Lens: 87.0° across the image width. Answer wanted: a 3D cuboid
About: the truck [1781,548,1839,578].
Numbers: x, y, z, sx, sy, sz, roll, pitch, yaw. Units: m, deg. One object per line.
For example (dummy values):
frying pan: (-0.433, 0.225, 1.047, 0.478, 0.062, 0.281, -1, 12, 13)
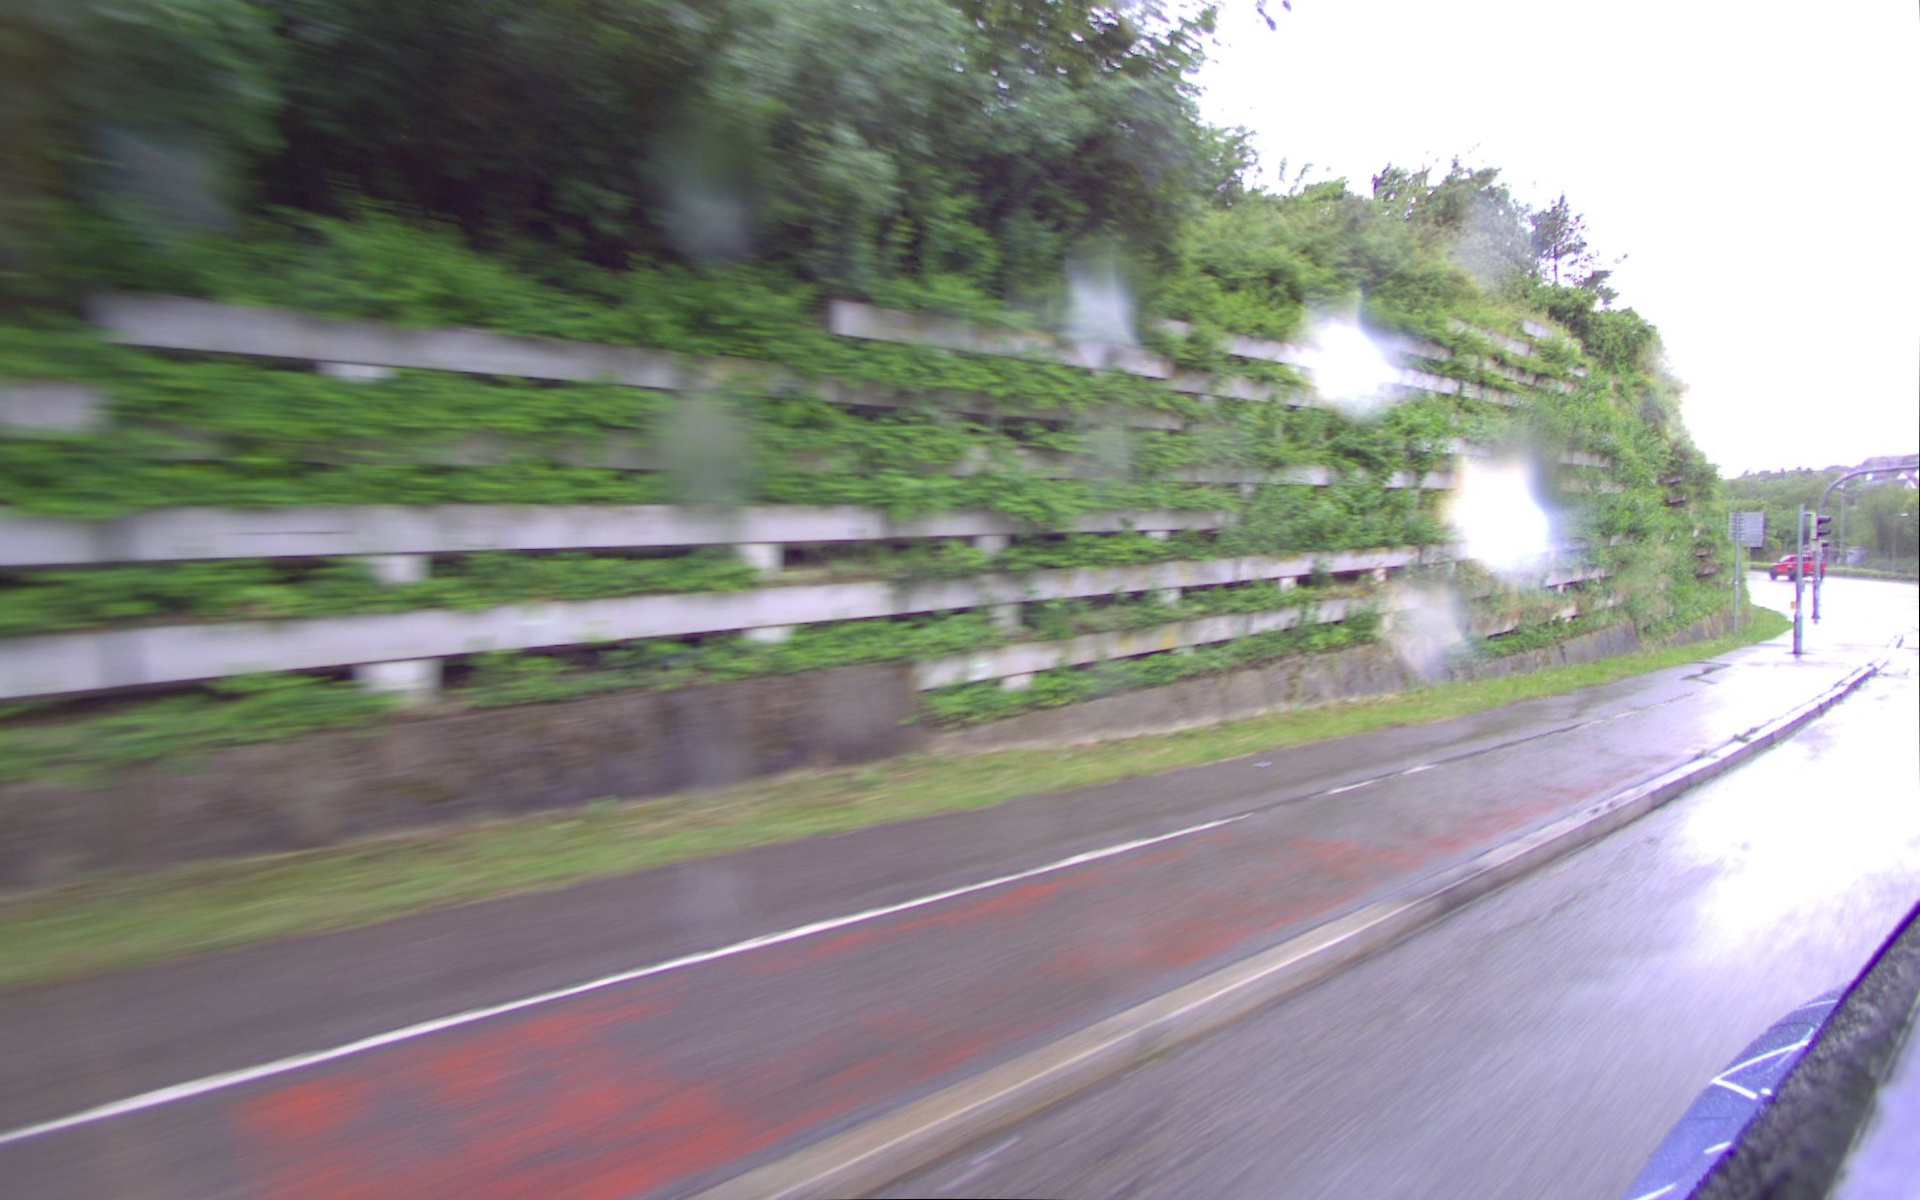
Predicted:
truck: (63.115, -2.799, 75.232, 1.979, 2.038, 5.295, -1, 2, 25)
